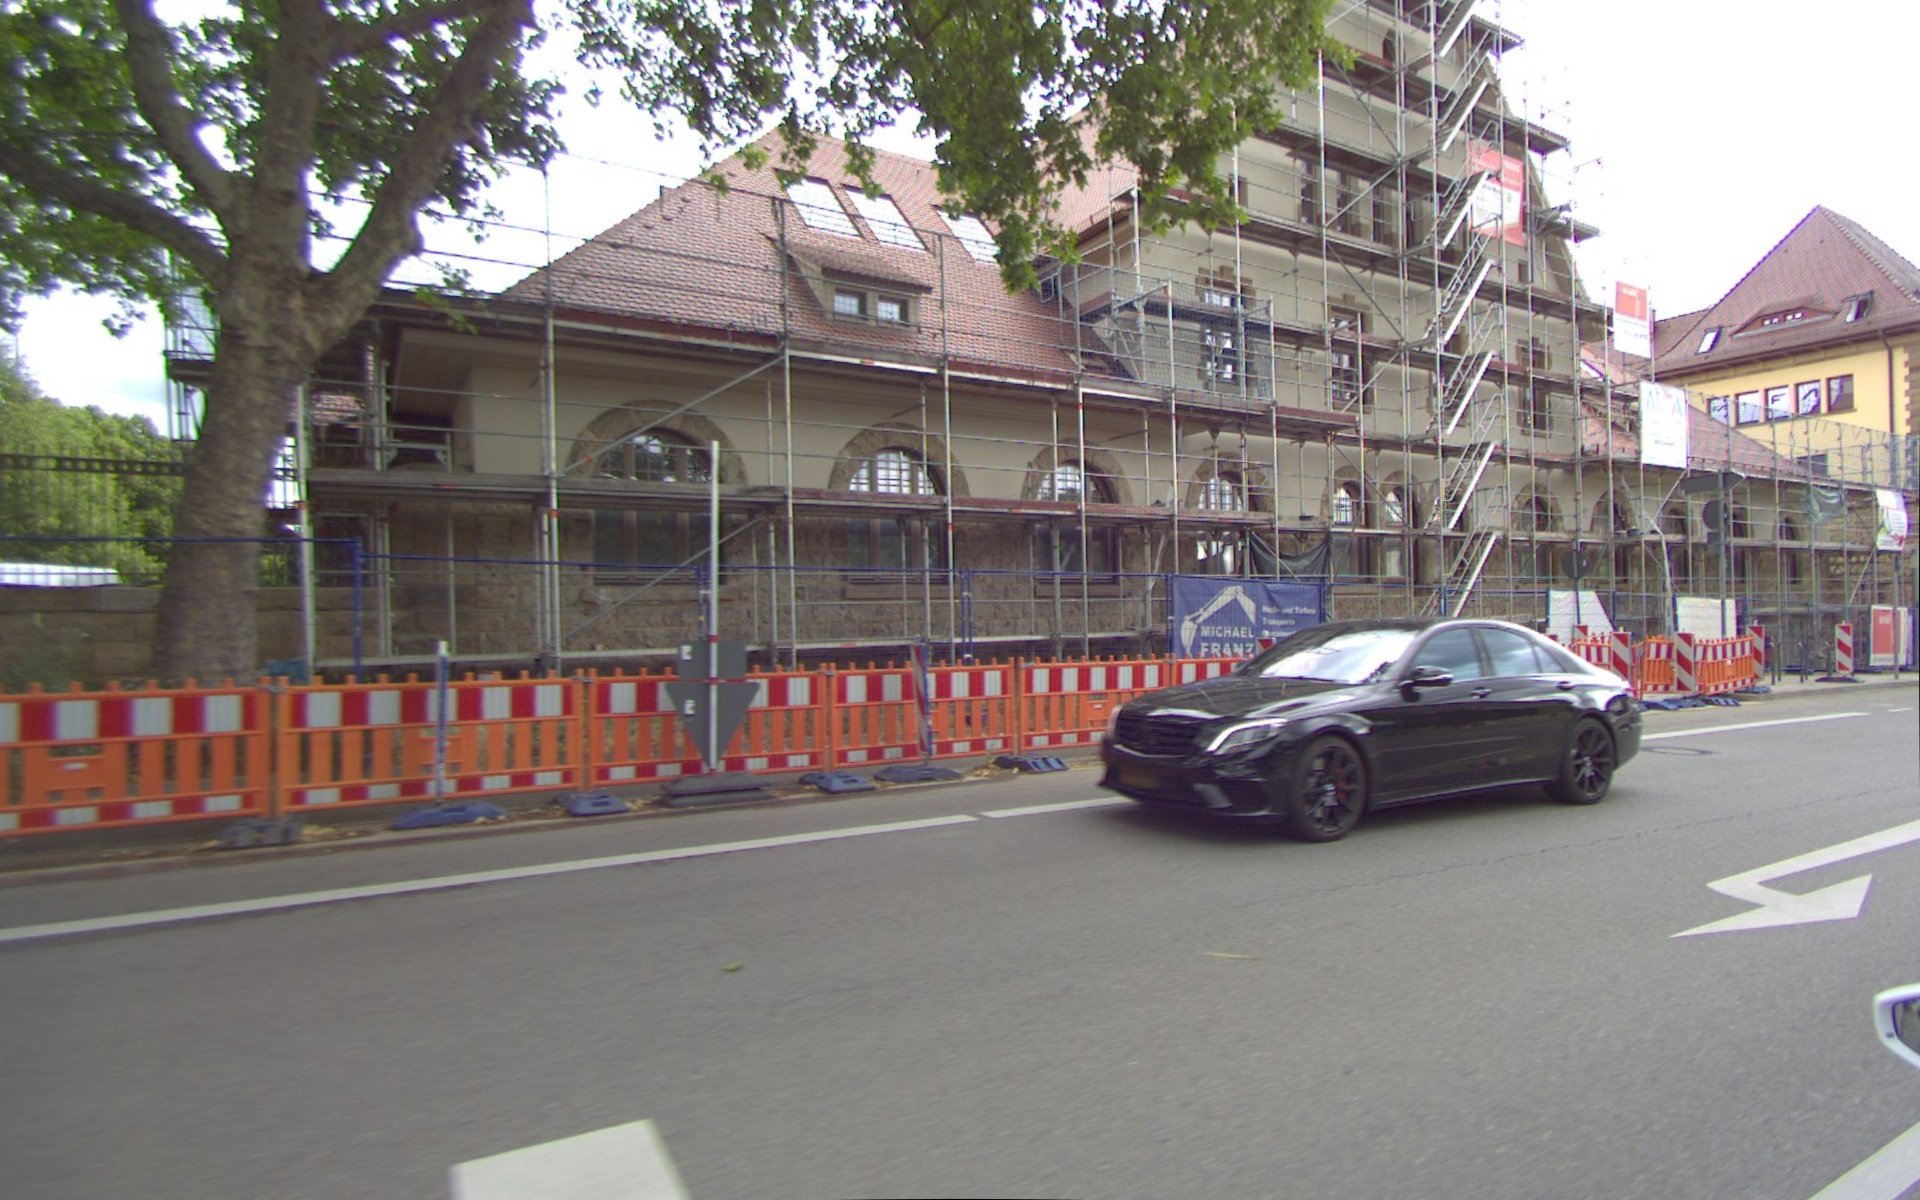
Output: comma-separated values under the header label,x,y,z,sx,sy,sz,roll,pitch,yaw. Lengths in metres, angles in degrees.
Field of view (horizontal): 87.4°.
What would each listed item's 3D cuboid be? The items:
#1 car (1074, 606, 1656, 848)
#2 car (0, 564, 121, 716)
label,x,y,z,sx,sy,sz,roll,pitch,yaw
car,3.399,0.841,8.151,4.790,1.491,1.794,1,-2,-29
car,-18.663,0.650,20.168,1.979,2.684,6.010,2,0,-33
